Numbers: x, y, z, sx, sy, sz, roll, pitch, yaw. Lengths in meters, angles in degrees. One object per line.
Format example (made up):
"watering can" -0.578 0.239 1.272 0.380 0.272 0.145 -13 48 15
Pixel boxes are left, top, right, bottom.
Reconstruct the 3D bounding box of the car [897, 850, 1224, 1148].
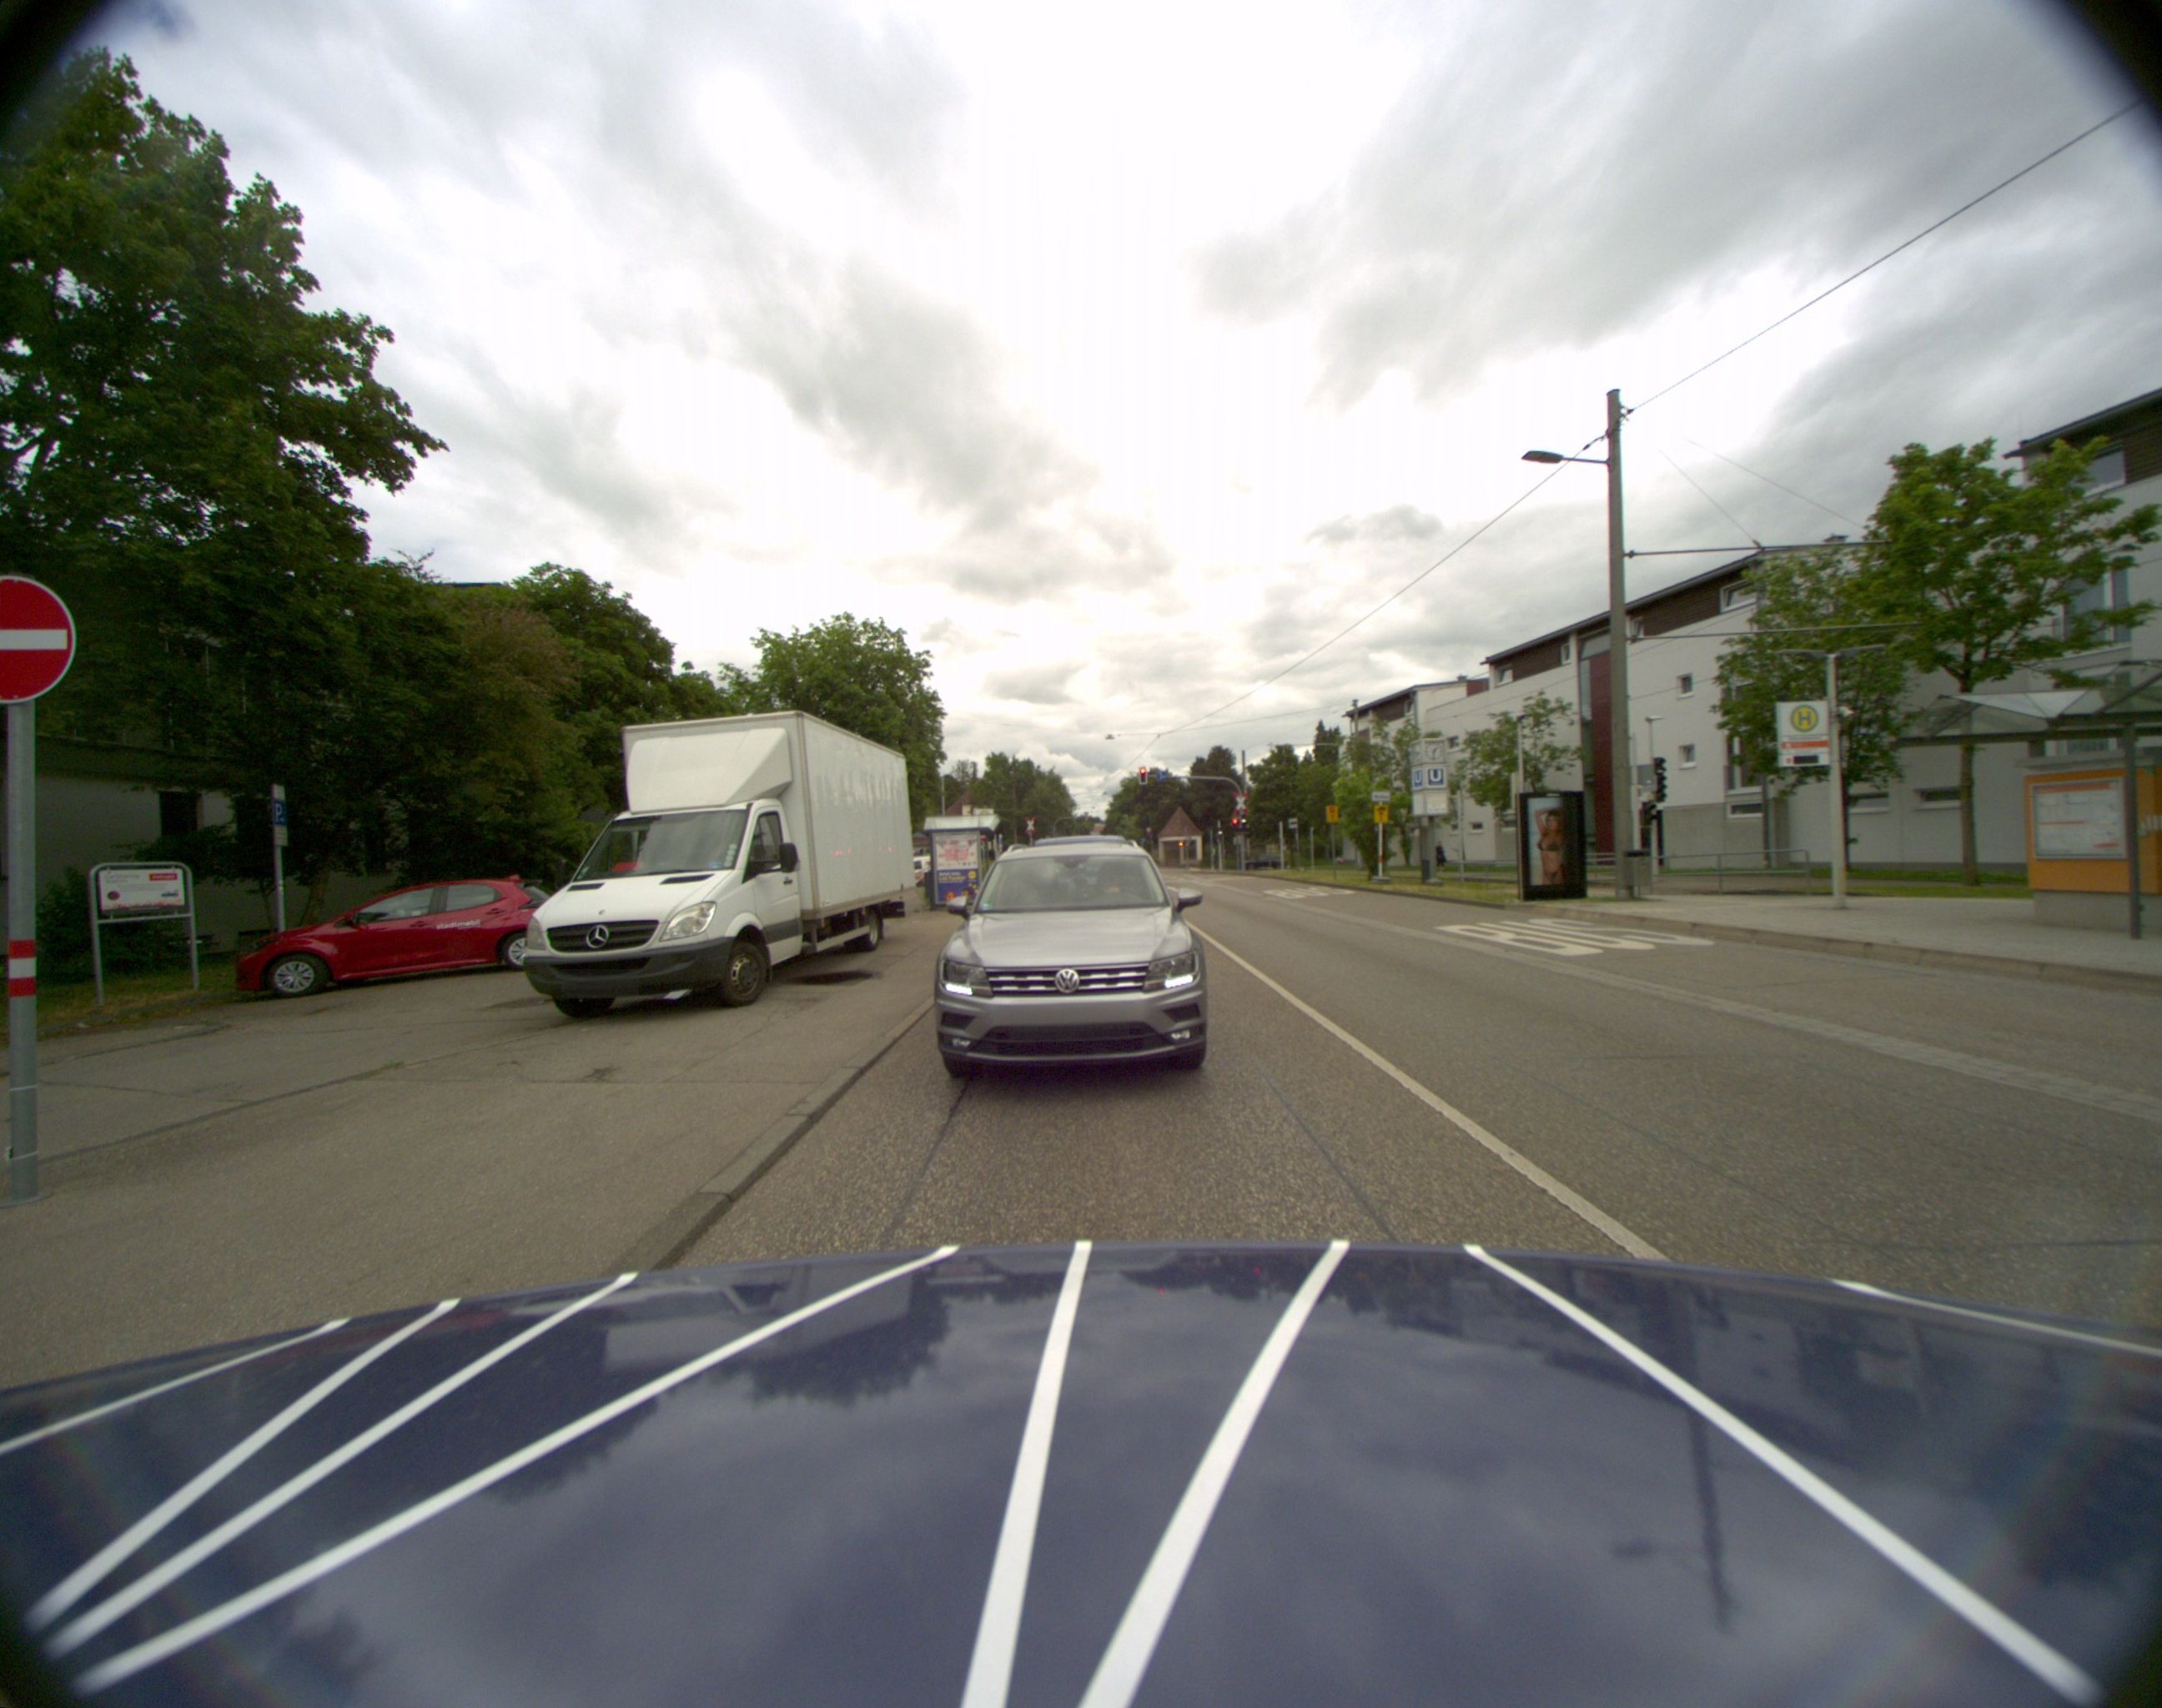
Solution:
"car" -0.087 0.826 6.520 1.811 1.638 4.330 -2 0 1

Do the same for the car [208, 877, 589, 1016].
"car" -10.024 1.265 11.601 3.902 1.475 1.680 -5 2 -24

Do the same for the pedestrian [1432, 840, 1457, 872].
"pedestrian" 18.493 0.088 38.667 0.782 1.586 0.780 -2 1 -8

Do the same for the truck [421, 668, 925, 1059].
"truck" -4.452 0.040 10.691 2.541 3.407 7.775 -2 1 2

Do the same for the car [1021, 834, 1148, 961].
"car" 0.078 0.646 13.471 1.849 1.850 4.000 -2 0 1

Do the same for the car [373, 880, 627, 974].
"car" -11.942 1.437 15.993 4.005 1.402 1.521 -5 2 -31

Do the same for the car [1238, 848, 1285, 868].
"car" 17.521 0.377 73.895 3.998 1.696 1.928 -2 1 -3
